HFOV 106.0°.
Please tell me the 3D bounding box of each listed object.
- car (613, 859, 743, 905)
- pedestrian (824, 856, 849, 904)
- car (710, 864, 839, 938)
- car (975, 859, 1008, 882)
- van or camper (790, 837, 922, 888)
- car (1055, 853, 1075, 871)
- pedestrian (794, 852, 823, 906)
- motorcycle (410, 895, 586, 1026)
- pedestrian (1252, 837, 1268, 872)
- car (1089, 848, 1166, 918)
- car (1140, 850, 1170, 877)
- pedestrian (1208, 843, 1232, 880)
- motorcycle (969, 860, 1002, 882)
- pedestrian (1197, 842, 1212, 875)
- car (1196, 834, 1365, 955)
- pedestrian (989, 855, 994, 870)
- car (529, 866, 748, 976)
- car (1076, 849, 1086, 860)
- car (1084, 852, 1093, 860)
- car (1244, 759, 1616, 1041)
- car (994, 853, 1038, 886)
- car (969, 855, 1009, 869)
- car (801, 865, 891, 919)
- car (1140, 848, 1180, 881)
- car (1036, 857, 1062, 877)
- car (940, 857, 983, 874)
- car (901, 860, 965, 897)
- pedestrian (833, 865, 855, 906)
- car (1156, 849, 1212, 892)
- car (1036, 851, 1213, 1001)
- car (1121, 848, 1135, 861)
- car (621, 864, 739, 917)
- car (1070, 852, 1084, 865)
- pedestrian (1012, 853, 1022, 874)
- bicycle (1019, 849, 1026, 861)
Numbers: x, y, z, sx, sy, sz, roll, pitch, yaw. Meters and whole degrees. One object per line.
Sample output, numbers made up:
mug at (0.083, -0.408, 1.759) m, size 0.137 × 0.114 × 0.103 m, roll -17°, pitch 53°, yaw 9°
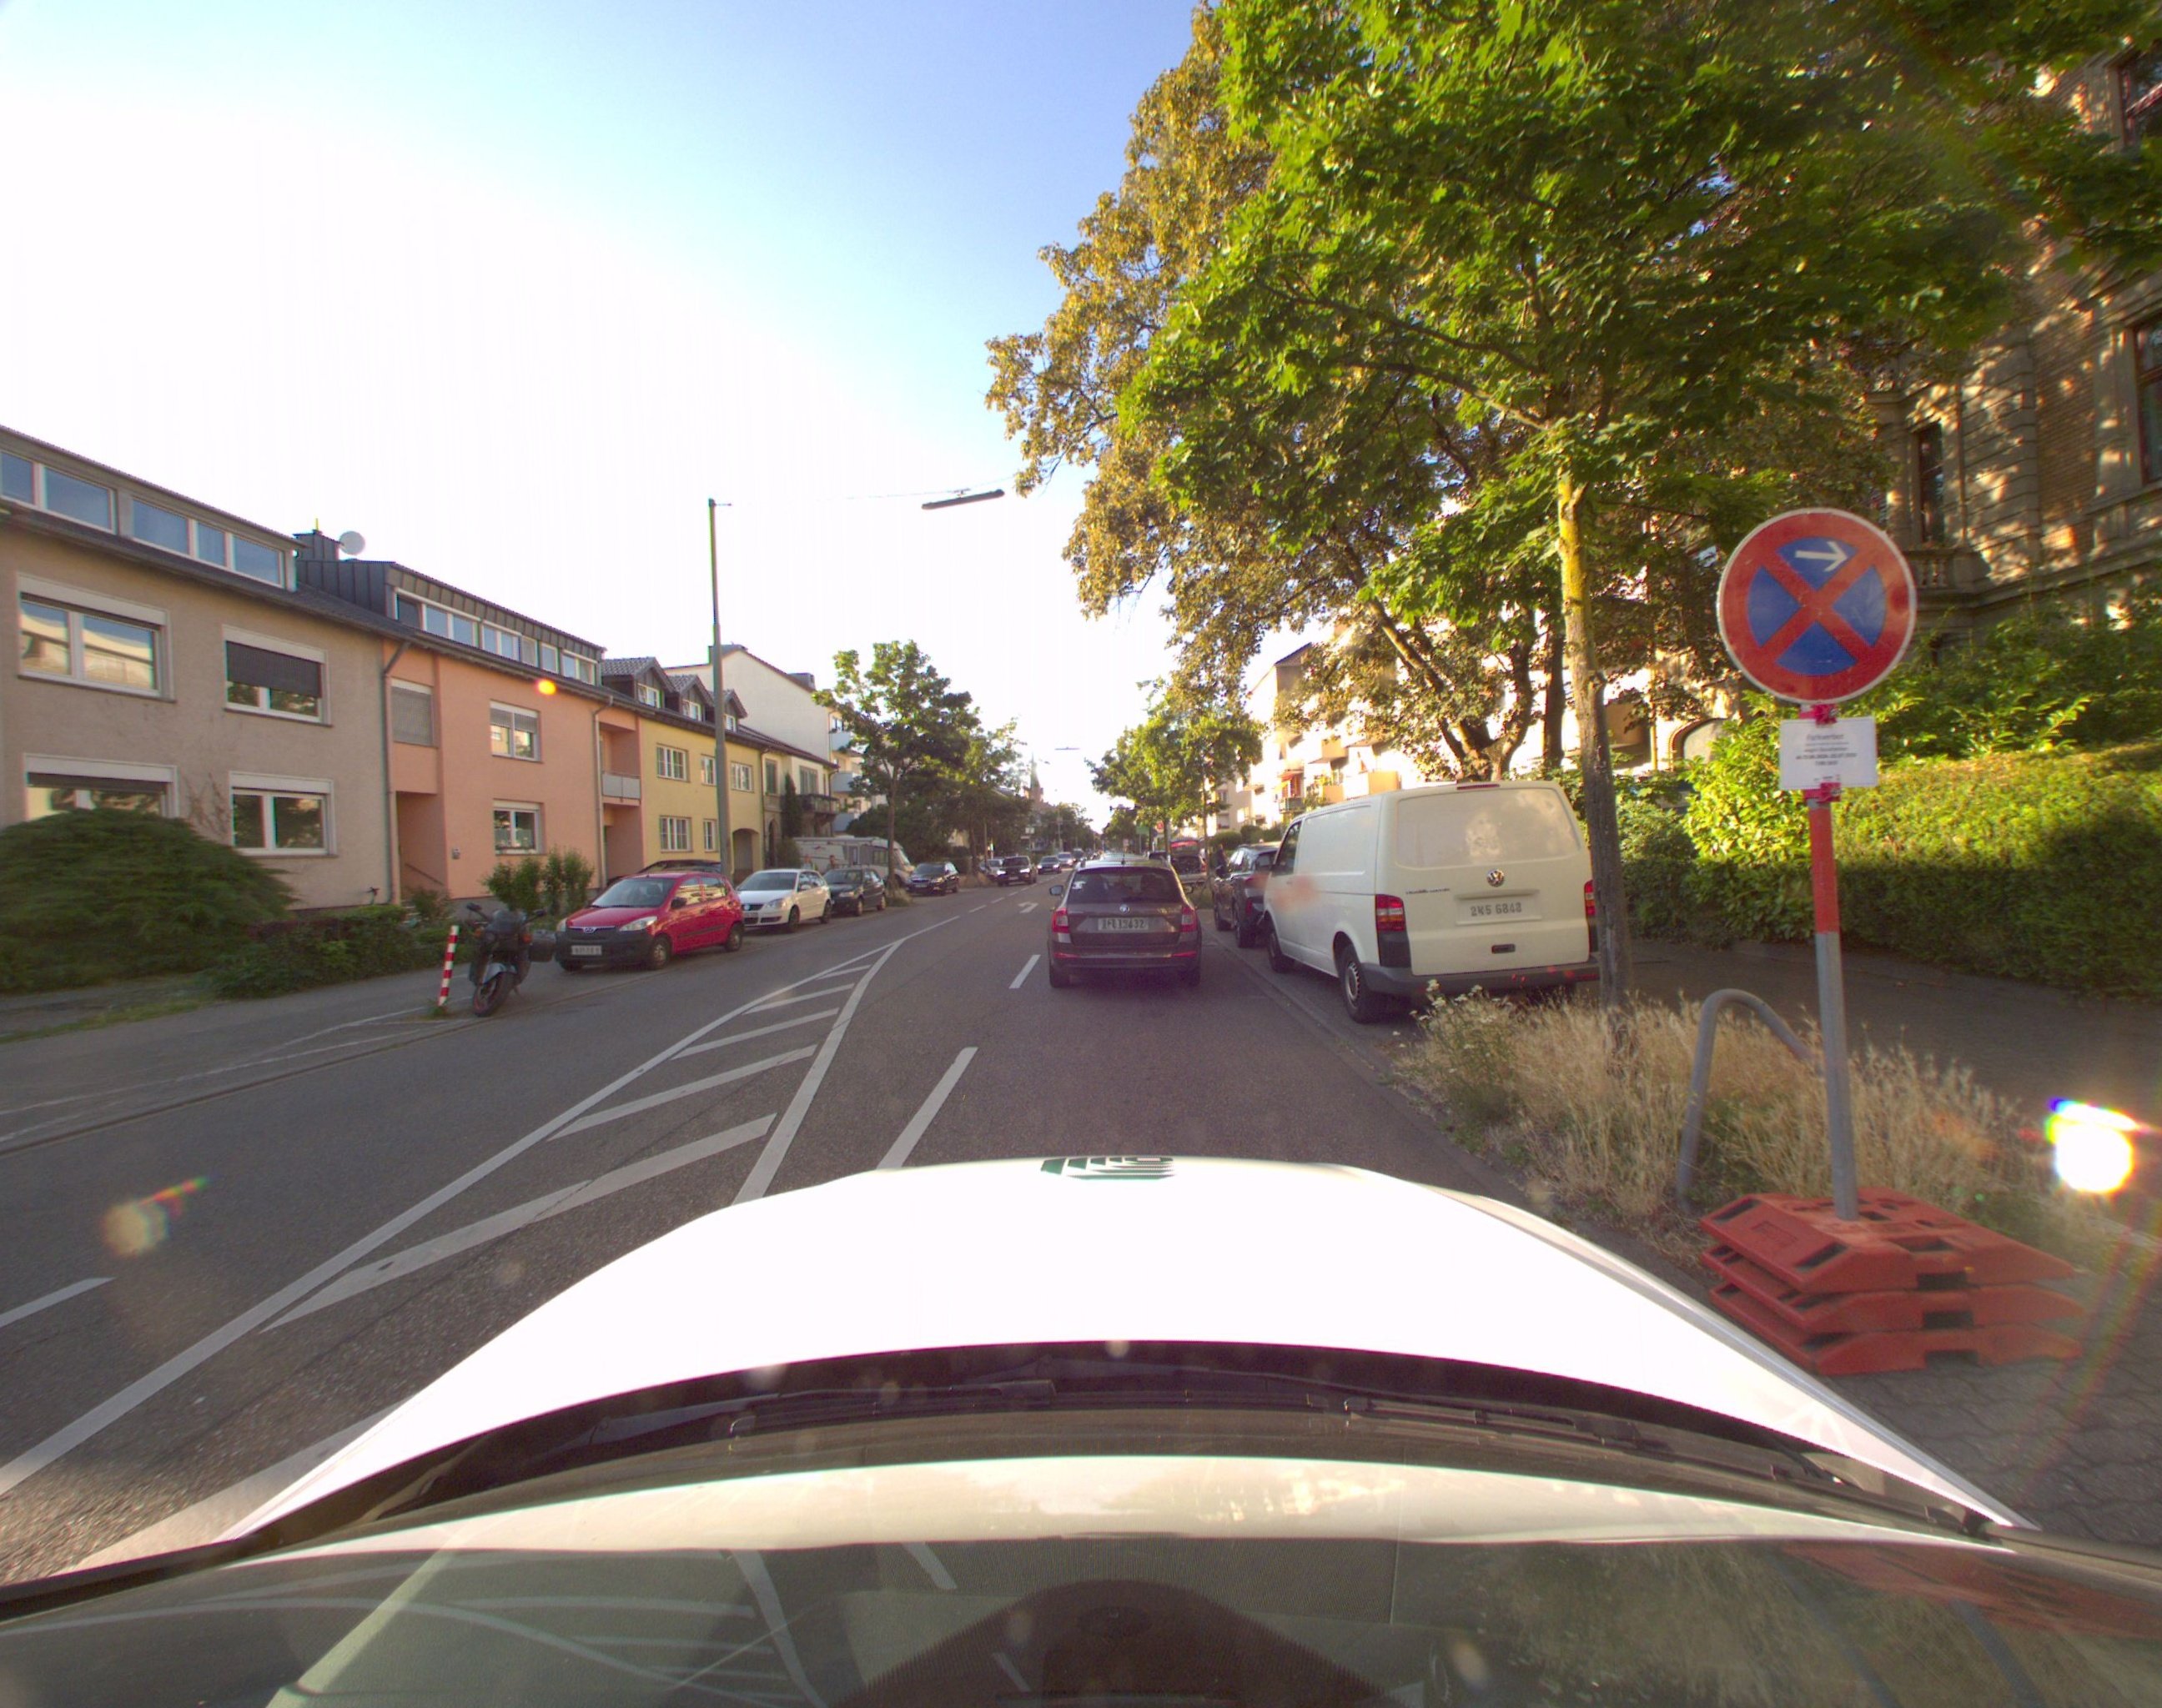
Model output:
car at (-15.202, 1.042, 30.857) m, size 3.971 × 1.636 × 1.867 m, roll 0°, pitch 0°, yaw 2°
pedestrian at (-9.343, 0.977, 31.126) m, size 0.710 × 1.792 × 0.572 m, roll -3°, pitch 0°, yaw 4°
car at (-7.383, 1.060, 20.008) m, size 1.587 × 1.523 × 3.891 m, roll -2°, pitch 0°, yaw 1°
car at (-5.827, 1.052, 53.486) m, size 1.587 × 1.470 × 3.805 m, roll 0°, pitch 0°, yaw 2°
van or camper at (-12.645, 0.479, 46.030) m, size 6.774 × 2.773 × 2.352 m, roll 0°, pitch 0°, yaw 0°
car at (-1.745, 0.861, 89.948) m, size 1.799 × 1.804 × 4.747 m, roll -4°, pitch 0°, yaw 2°
pedestrian at (-9.350, 0.858, 27.953) m, size 0.710 × 1.792 × 0.506 m, roll -3°, pitch 0°, yaw 4°
motorcycle at (-7.032, 1.203, 10.018) m, size 1.184 × 1.266 × 2.352 m, roll -3°, pitch 0°, yaw -22°
pedestrian at (8.442, 0.030, 38.500) m, size 0.475 × 1.640 × 0.533 m, roll -2°, pitch 0°, yaw -17°
car at (1.150, 0.656, 20.459) m, size 1.730 × 1.571 × 4.003 m, roll 0°, pitch 0°, yaw 3°
car at (4.550, 0.557, 50.477) m, size 1.696 × 1.450 × 4.018 m, roll -4°, pitch 0°, yaw 4°
pedestrian at (6.358, 0.361, 37.246) m, size 0.748 × 1.640 × 0.700 m, roll -3°, pitch 0°, yaw 38°
motorcycle at (-5.832, 1.069, 49.775) m, size 2.028 × 1.265 × 0.772 m, roll -3°, pitch 0°, yaw 40°
pedestrian at (6.893, 0.254, 45.550) m, size 0.659 × 1.749 × 0.773 m, roll -4°, pitch 0°, yaw 4°
car at (3.214, 0.589, 14.053) m, size 1.849 × 1.603 × 4.313 m, roll -5°, pitch 0°, yaw 1°
pedestrian at (-10.432, 0.974, 94.814) m, size 0.447 × 1.797 × 0.504 m, roll -3°, pitch 0°, yaw 2°
car at (-7.290, 1.020, 13.839) m, size 1.585 × 1.523 × 3.440 m, roll -2°, pitch 0°, yaw 5°
car at (0.002, 0.060, 192.605) m, size 1.986 × 2.478 × 4.002 m, roll -2°, pitch 0°, yaw 2°
car at (1.614, 0.496, 181.326) m, size 1.823 × 1.579 × 4.002 m, roll -3°, pitch 0°, yaw 2°
car at (3.162, 0.353, 8.607) m, size 1.897 × 2.103 × 4.640 m, roll -2°, pitch 0°, yaw 0°
car at (-3.500, 0.833, 44.569) m, size 1.829 × 1.570 × 4.001 m, roll -4°, pitch -1°, yaw 1°
car at (-11.236, 0.958, 99.985) m, size 4.617 × 1.535 × 1.862 m, roll -1°, pitch 0°, yaw 1°
car at (-7.052, 1.106, 24.773) m, size 1.537 × 1.396 × 3.667 m, roll -2°, pitch 0°, yaw 2°
car at (4.279, 0.543, 44.699) m, size 1.849 × 1.581 × 4.015 m, roll -4°, pitch 0°, yaw 1°
car at (-2.625, 1.077, 67.471) m, size 1.754 × 1.452 × 4.536 m, roll -5°, pitch 0°, yaw 2°
car at (-13.769, 1.302, 94.049) m, size 4.617 × 1.811 × 1.862 m, roll -2°, pitch 0°, yaw 1°
car at (-6.590, 1.038, 36.667) m, size 1.860 × 1.494 × 4.519 m, roll -1°, pitch 0°, yaw 2°
pedestrian at (-8.788, 1.160, 30.190) m, size 0.587 × 1.496 × 0.543 m, roll -3°, pitch 0°, yaw 4°
car at (4.021, 0.597, 32.484) m, size 1.702 × 1.480 × 4.270 m, roll -4°, pitch 0°, yaw 1°
car at (0.500, 0.727, 10.442) m, size 1.766 × 1.489 × 4.312 m, roll -1°, pitch 0°, yaw 1°
car at (6.975, 0.049, 119.874) m, size 1.984 × 1.772 × 4.005 m, roll 0°, pitch 0°, yaw 5°
car at (-12.606, 1.111, 25.879) m, size 1.658 × 1.409 × 3.756 m, roll -3°, pitch 0°, yaw 3°
car at (-0.587, 0.746, 130.807) m, size 1.986 × 1.908 × 4.965 m, roll -4°, pitch 0°, yaw 1°
pedestrian at (-6.183, 0.897, 79.104) m, size 0.777 × 1.987 × 0.821 m, roll -3°, pitch 0°, yaw 2°
bicycle at (-5.246, 0.093, 73.026) m, size 0.484 × 1.064 × 1.534 m, roll -2°, pitch 0°, yaw 1°
